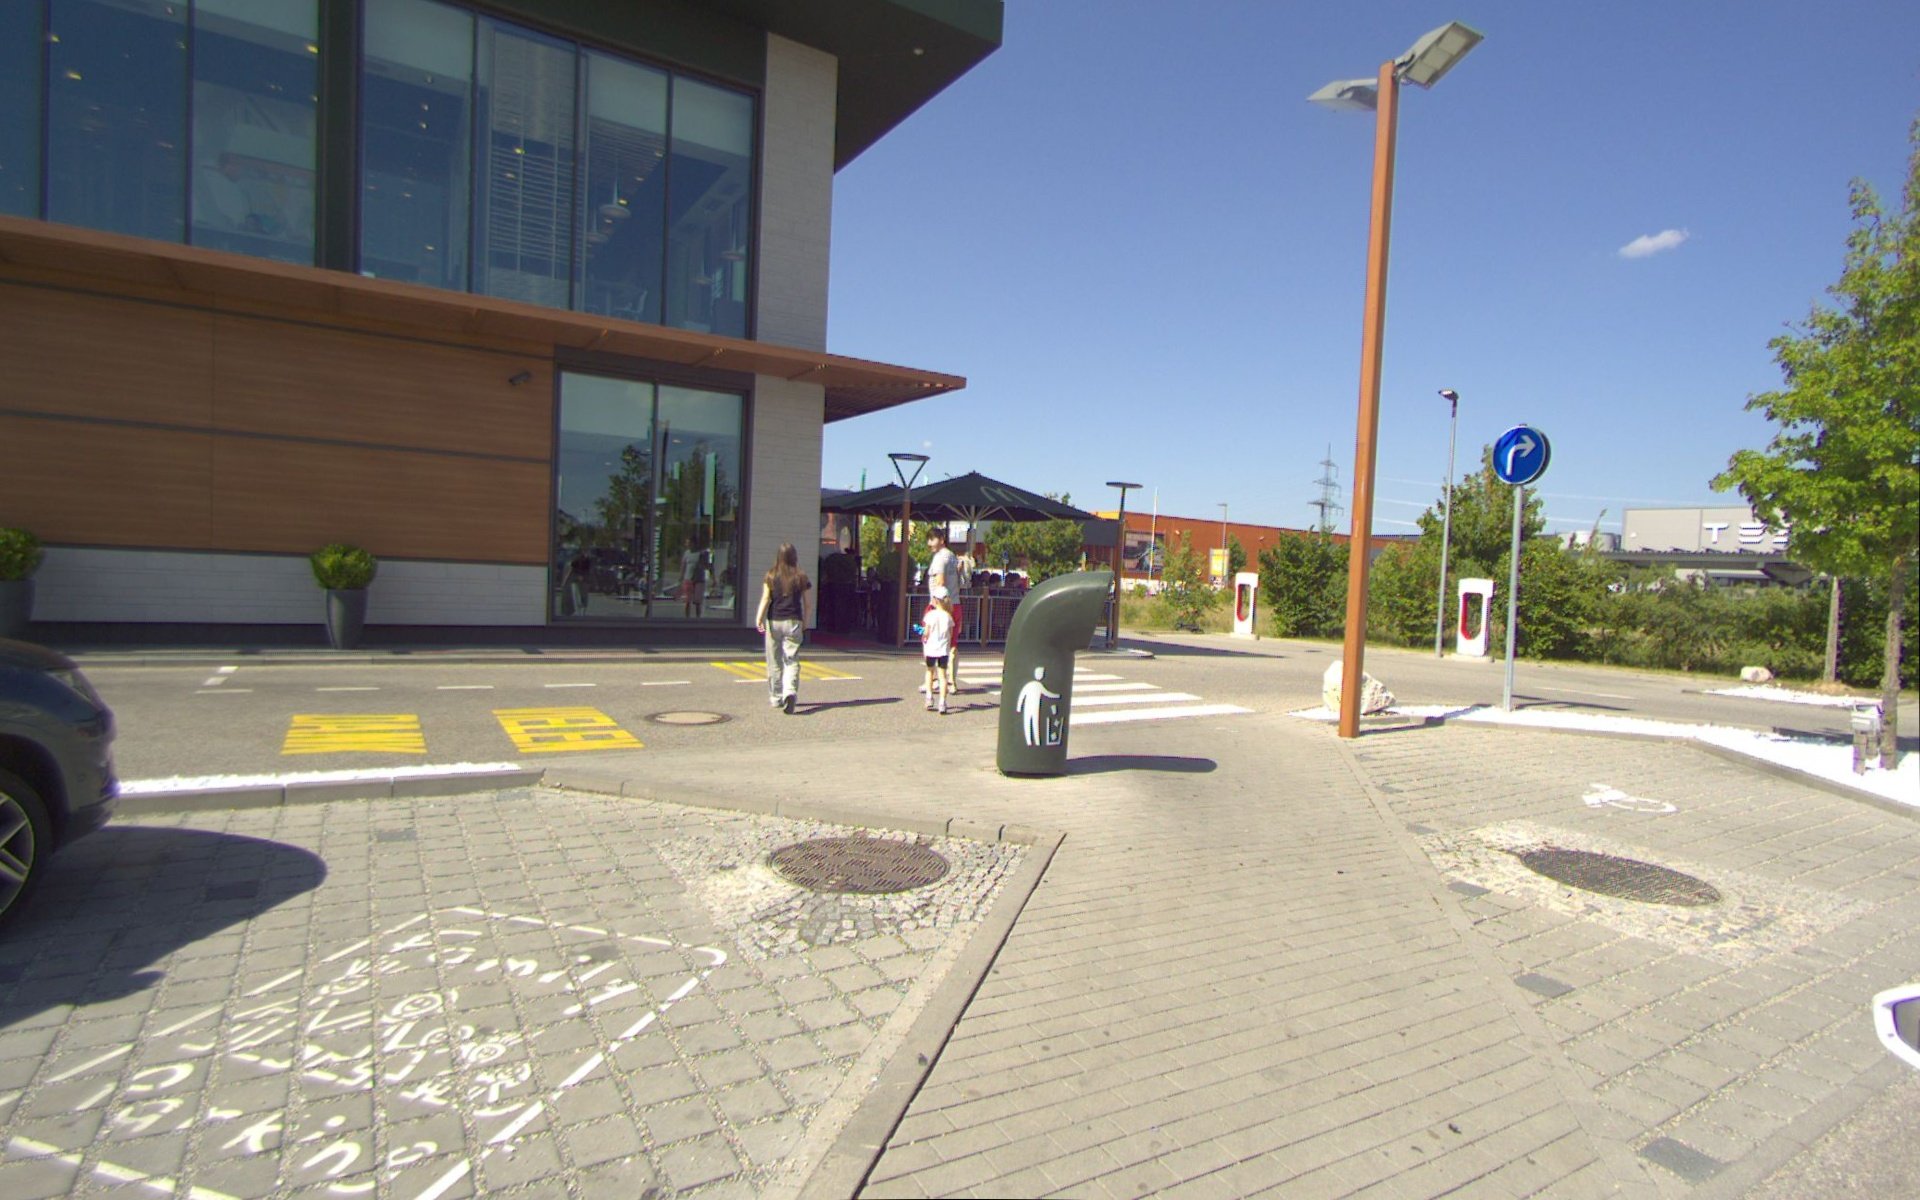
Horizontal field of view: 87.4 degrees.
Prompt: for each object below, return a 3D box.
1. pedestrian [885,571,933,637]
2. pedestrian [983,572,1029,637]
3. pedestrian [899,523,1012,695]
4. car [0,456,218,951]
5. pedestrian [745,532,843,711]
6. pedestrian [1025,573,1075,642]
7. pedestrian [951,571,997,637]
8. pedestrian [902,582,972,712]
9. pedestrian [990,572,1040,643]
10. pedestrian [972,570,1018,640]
[{"bbox_3d":[-0.908,0.065,17.864,0.628,1.139,0.519,1,2,-35],"label":"pedestrian"},{"bbox_3d":[0.940,0.089,20.504,0.723,1.275,0.567,1,2,-36],"label":"pedestrian"},{"bbox_3d":[-0.052,0.085,11.054,0.889,1.792,0.794,1,2,-40],"label":"pedestrian"},{"bbox_3d":[-4.286,0.340,2.118,1.755,1.625,4.228,5,4,13],"label":"car"},{"bbox_3d":[-1.568,0.190,9.423,0.730,1.605,0.725,1,2,-22],"label":"pedestrian"},{"bbox_3d":[1.726,0.140,19.230,0.723,1.275,0.567,1,2,-36],"label":"pedestrian"},{"bbox_3d":[0.283,0.080,19.998,0.709,1.275,0.519,1,2,-36],"label":"pedestrian"},{"bbox_3d":[-0.223,0.437,9.651,0.444,1.202,0.486,1,2,-37],"label":"pedestrian"},{"bbox_3d":[1.014,0.137,18.400,0.709,1.275,0.519,1,2,-36],"label":"pedestrian"},{"bbox_3d":[0.656,0.093,18.834,0.628,1.275,0.519,1,2,-35],"label":"pedestrian"}]
